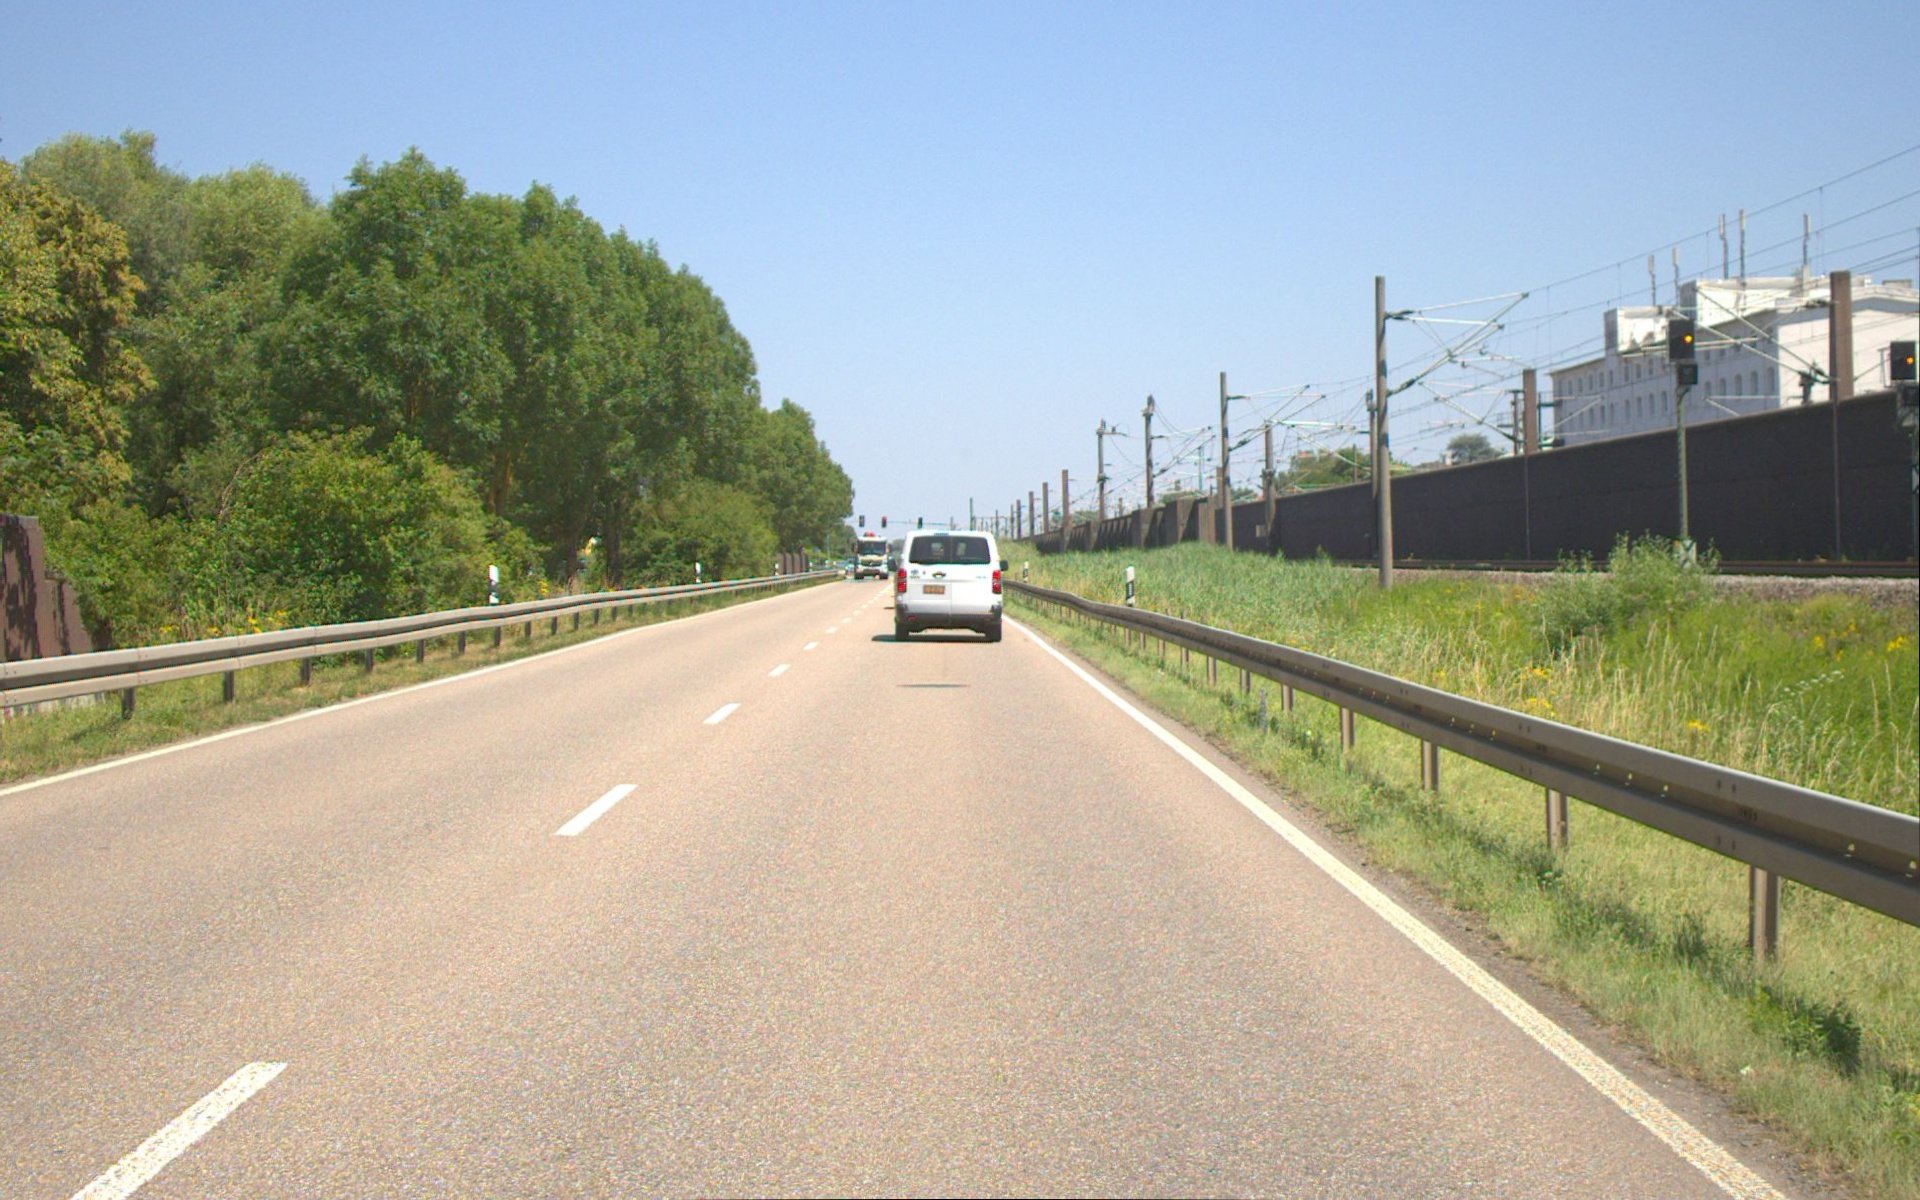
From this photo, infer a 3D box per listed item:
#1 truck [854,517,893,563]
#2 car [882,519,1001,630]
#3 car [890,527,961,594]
[{"bbox_3d":[-6.481,-4.476,258.127,2.783,3.393,7.989,1,1,-1],"label":"truck"},{"bbox_3d":[-0.328,-0.452,60.247,1.993,1.843,4.000,1,1,0],"label":"car"},{"bbox_3d":[-1.004,-1.151,99.725,1.993,1.843,4.000,1,1,0],"label":"car"}]
